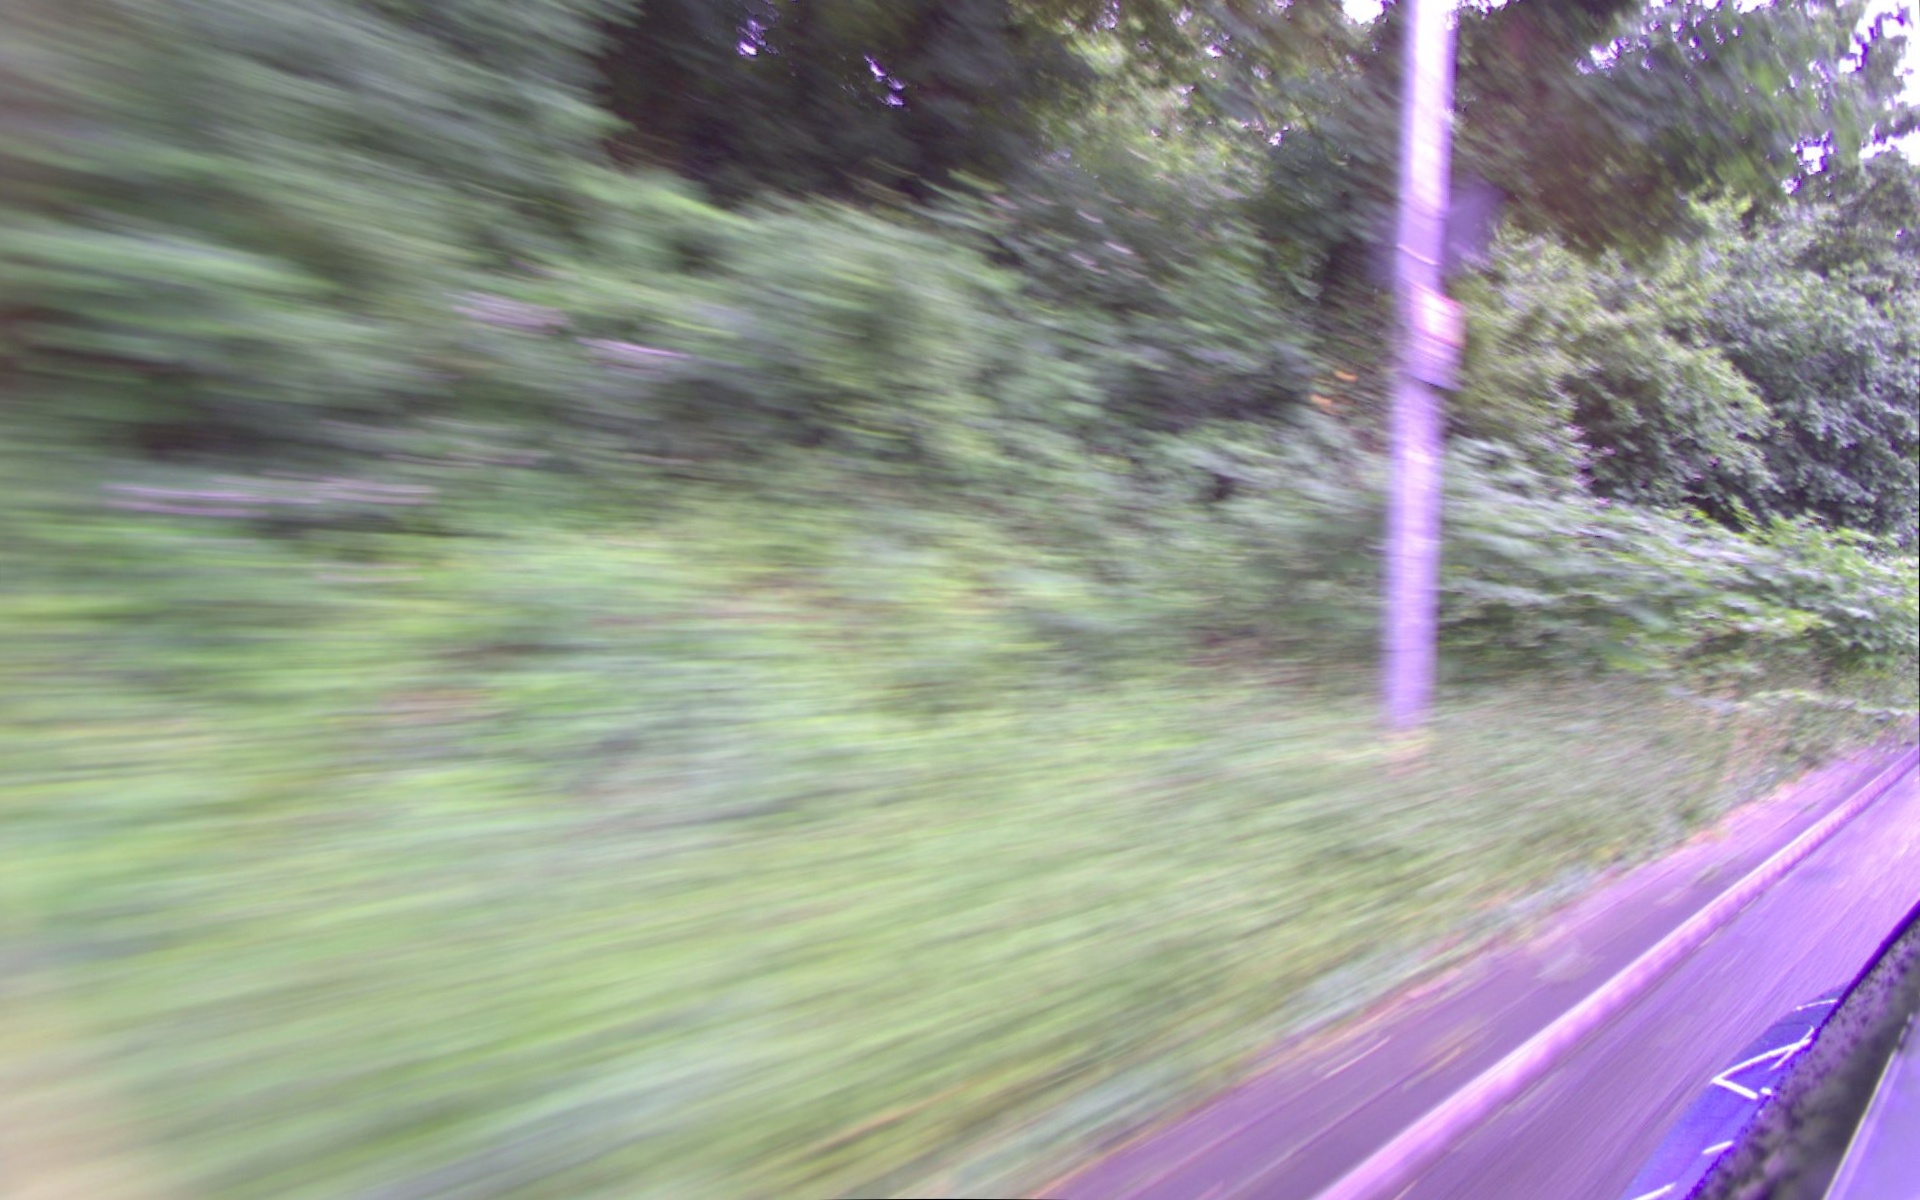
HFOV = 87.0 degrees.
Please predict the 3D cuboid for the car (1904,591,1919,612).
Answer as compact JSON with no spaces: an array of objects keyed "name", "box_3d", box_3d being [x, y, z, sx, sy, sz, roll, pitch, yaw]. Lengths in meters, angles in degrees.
[{"name":"car","box_3d":[67.248,0.155,69.897,1.780,1.424,4.581,3,2,28]}]
